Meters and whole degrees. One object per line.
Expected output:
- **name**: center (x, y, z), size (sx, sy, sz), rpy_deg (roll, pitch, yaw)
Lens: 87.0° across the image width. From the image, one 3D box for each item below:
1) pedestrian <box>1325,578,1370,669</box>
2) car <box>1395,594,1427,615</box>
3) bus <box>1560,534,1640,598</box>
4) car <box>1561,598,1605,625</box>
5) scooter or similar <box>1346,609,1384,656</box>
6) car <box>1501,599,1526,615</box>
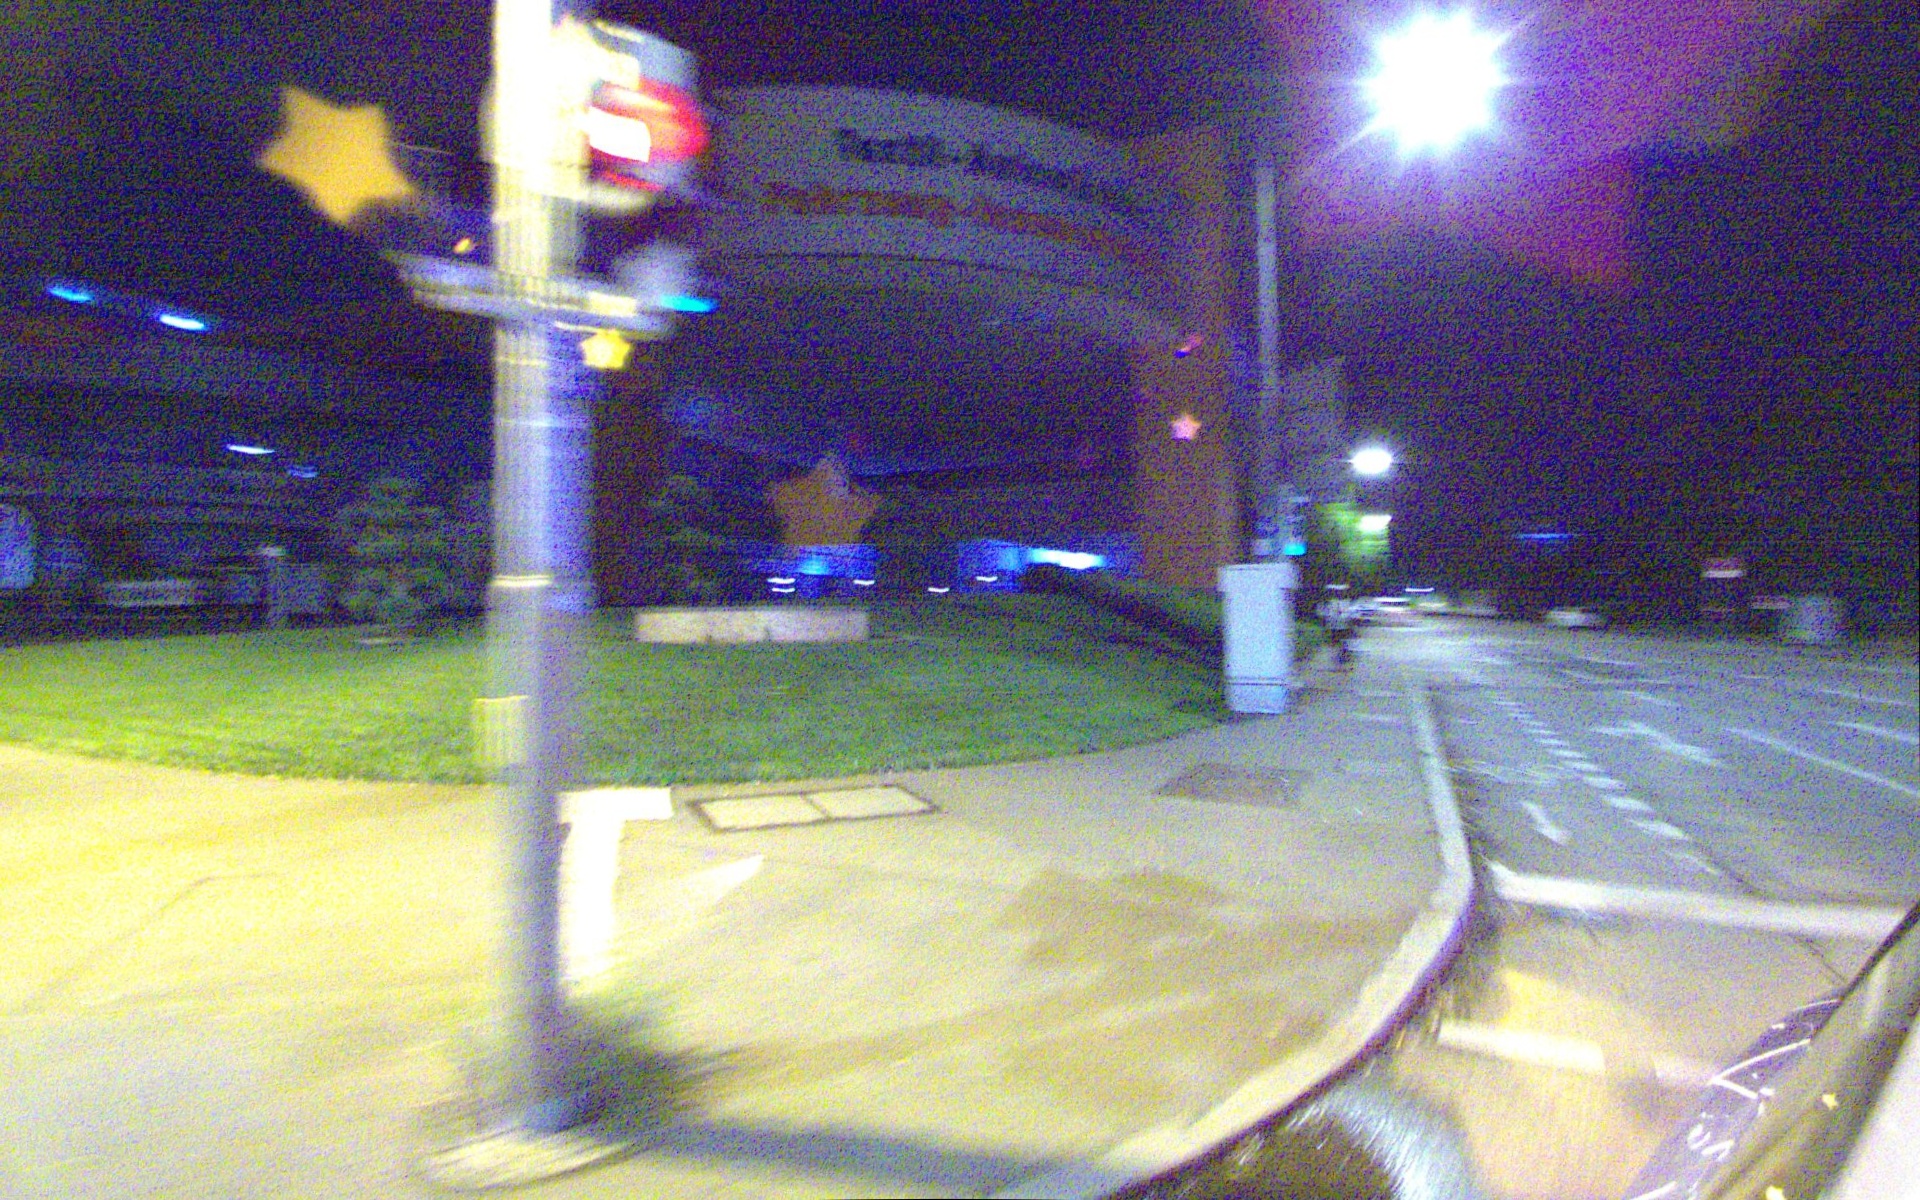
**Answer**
- **pedestrian**: center (8.247, 0.486, 21.521), size (0.811, 1.889, 1.025), rpy_deg (-1, -1, 26)
- **car**: center (37.554, 0.373, 84.184), size (1.984, 1.668, 3.956), rpy_deg (1, 0, 31)
- **bus**: center (75.583, -3.765, 119.999), size (6.076, 7.026, 14.653), rpy_deg (0, 0, 25)
- **car**: center (38.455, 0.695, 62.535), size (1.788, 1.612, 3.966), rpy_deg (-1, 0, 24)
- **scooter or similar**: center (10.633, 0.852, 26.580), size (1.115, 1.218, 0.468), rpy_deg (2, -2, -41)
- **car**: center (53.899, 0.707, 98.577), size (1.845, 1.511, 4.045), rpy_deg (0, 0, 25)
